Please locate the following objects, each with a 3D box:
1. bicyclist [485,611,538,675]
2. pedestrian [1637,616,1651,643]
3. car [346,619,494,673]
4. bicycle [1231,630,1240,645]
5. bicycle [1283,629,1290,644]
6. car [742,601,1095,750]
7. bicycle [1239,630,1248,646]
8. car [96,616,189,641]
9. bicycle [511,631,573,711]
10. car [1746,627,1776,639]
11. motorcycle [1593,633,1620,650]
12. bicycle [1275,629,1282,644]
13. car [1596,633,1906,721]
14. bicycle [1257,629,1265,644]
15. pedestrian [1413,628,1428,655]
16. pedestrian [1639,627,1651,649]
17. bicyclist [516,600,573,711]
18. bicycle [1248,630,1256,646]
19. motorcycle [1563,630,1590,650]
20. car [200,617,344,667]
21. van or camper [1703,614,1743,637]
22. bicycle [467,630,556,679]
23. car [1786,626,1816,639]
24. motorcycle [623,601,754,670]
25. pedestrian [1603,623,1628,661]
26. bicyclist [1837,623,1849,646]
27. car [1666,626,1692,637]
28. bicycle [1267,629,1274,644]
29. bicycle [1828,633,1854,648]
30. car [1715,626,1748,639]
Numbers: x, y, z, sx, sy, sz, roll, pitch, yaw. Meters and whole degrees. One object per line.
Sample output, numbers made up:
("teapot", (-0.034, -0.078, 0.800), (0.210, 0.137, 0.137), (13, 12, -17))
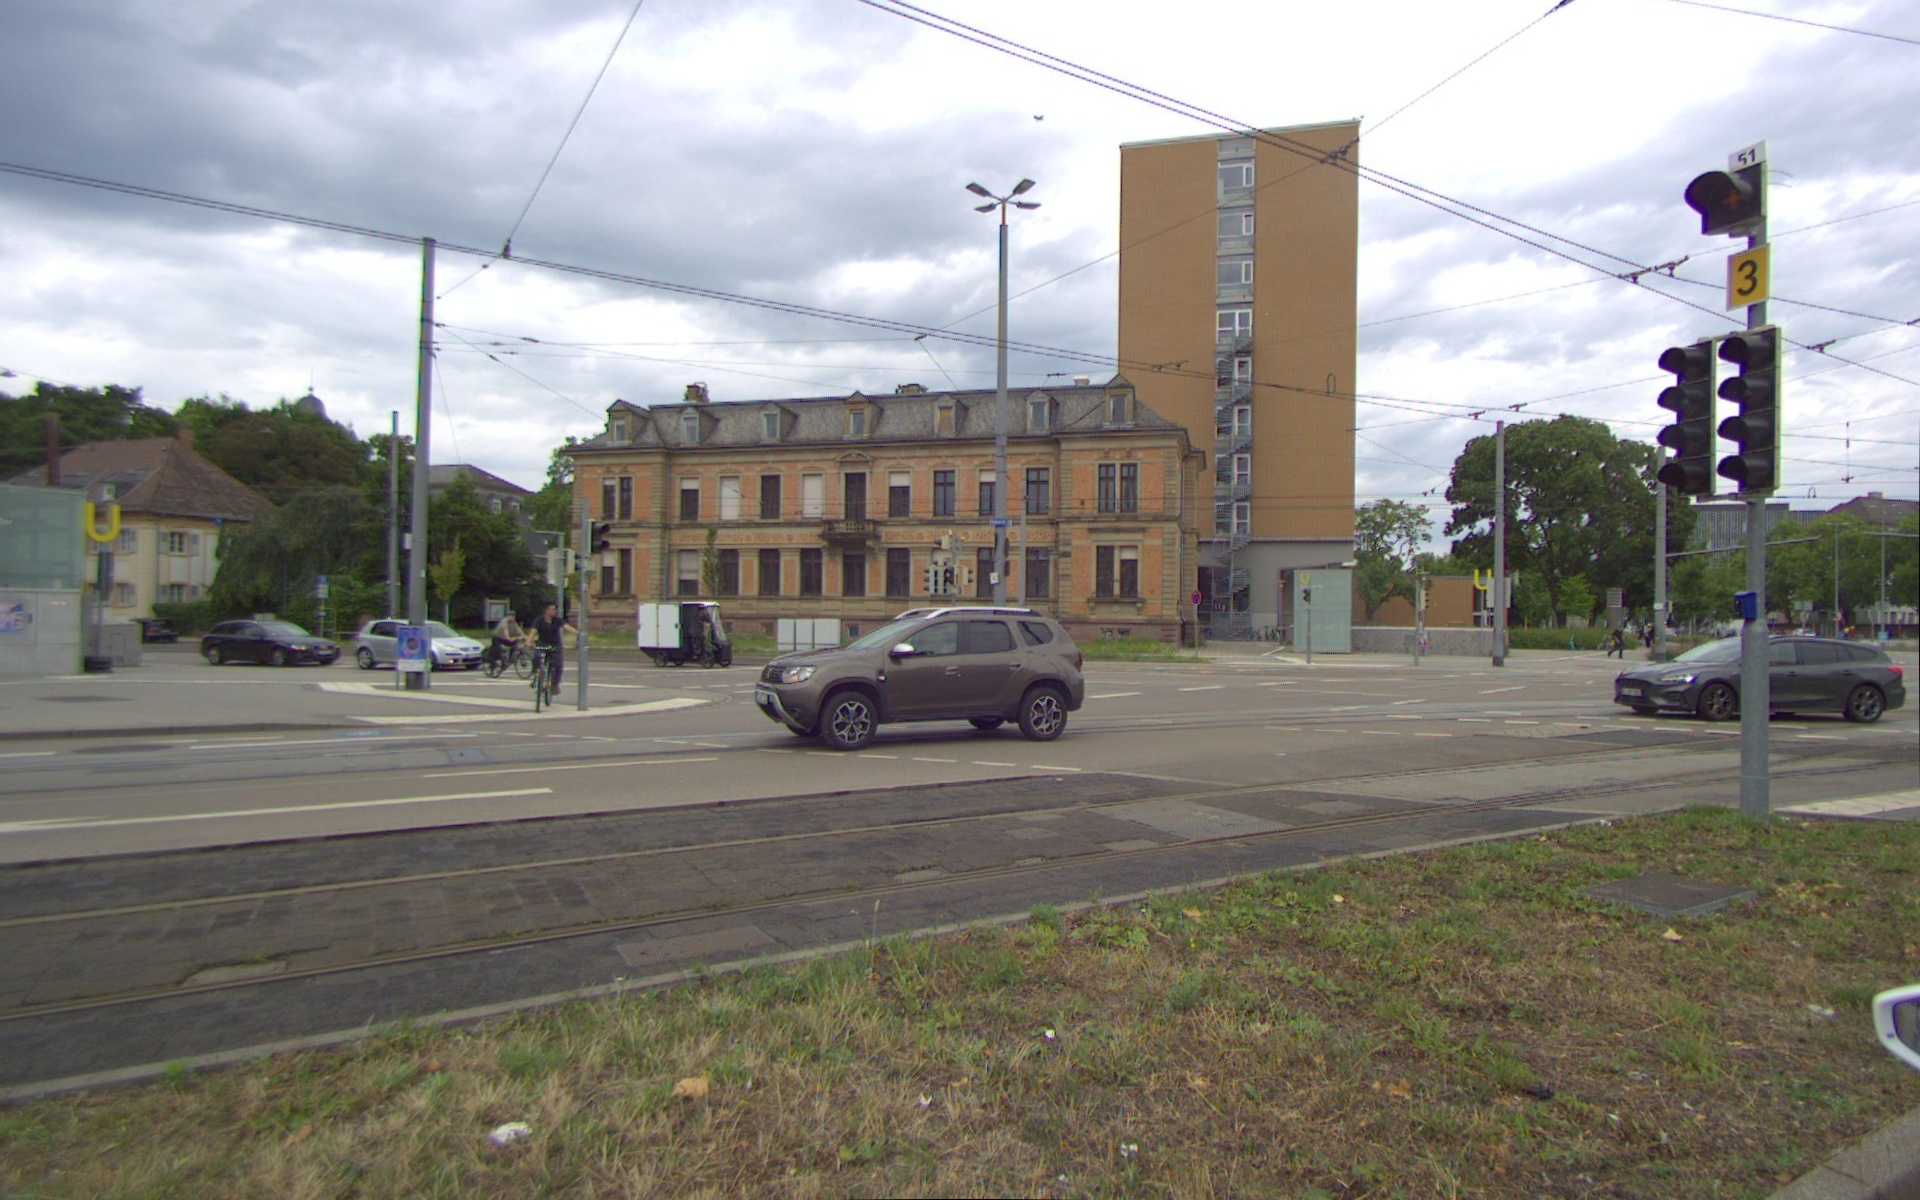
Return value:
("bicyclist", (-11.871, 1.132, 26.602), (0.899, 1.644, 0.855), (0, -1, 20))
("pedestrian", (52.592, 2.286, 77.220), (0.781, 2.007, 0.880), (1, -2, 26))
("car", (-16.260, 1.345, 30.255), (4.081, 1.473, 1.761), (0, -1, 23))
("bicycle", (20.412, 2.788, 74.475), (0.561, 1.120, 1.428), (1, -1, 18))
("bicycle", (23.876, 2.667, 73.483), (0.472, 1.063, 1.428), (1, -1, 18))
("car", (-0.523, 0.898, 12.925), (4.173, 1.662, 1.792), (1, -1, -25))
("bicycle", (20.976, 2.790, 74.301), (0.561, 1.120, 1.428), (1, -1, 18))
("car", (-45.049, 1.546, 55.350), (3.919, 1.305, 1.936), (1, -1, 12))
("bicycle", (-7.101, 1.161, 17.002), (0.805, 1.259, 1.986), (0, -2, -27))
("car", (109.771, 4.550, 137.674), (1.746, 1.483, 4.002), (1, 0, 14))
("motorcycle", (43.669, 2.820, 67.839), (1.716, 1.126, 0.510), (1, -1, -17))
("bicycle", (23.380, 2.677, 73.642), (0.472, 1.063, 1.428), (1, -1, 18))
("car", (14.008, 1.342, 17.932), (4.307, 1.414, 1.698), (1, -1, -3))
("bicycle", (22.182, 2.683, 73.965), (0.561, 1.120, 1.428), (1, -1, 18))
("pedestrian", (23.118, 2.090, 50.428), (0.562, 1.353, 0.499), (1, -1, 10))
("pedestrian", (64.899, 3.617, 95.187), (0.868, 2.007, 0.792), (0, -2, 42))
("bicyclist", (-7.100, 0.913, 17.154), (0.805, 1.822, 1.022), (-1, 0, -28))
("bicycle", (21.539, 2.807, 74.131), (0.561, 1.120, 1.428), (1, -1, 18))
("motorcycle", (41.566, 2.680, 67.712), (1.443, 1.285, 0.512), (1, -1, 14))
("car", (-22.058, 1.318, 32.225), (4.061, 1.468, 1.697), (1, -1, 18))
("van or camper", (108.239, 3.566, 142.515), (2.347, 3.165, 5.507), (1, -1, 12))
("bicycle", (-11.881, 1.431, 26.595), (2.154, 1.224, 0.857), (0, -1, 20))
("car", (106.476, 4.115, 127.234), (1.747, 1.483, 3.999), (1, 0, 22))
("motorcycle", (-8.524, 1.091, 31.613), (3.614, 2.040, 1.696), (0, -1, 19))
("pedestrian", (35.975, 2.310, 55.116), (1.009, 2.040, 0.842), (0, -1, 41))
("bicyclist", (80.398, 3.163, 91.461), (0.578, 2.040, 0.514), (1, -1, 13))
("car", (113.877, 4.980, 159.141), (1.745, 1.483, 4.002), (1, 0, 11))
("bicycle", (22.806, 2.692, 73.766), (0.500, 1.063, 1.428), (1, -1, 18))
("bicycle", (80.261, 3.689, 91.476), (1.791, 1.252, 0.435), (1, -1, 14))
("car", (94.886, 4.024, 123.609), (1.746, 1.483, 4.002), (1, -1, 14))
